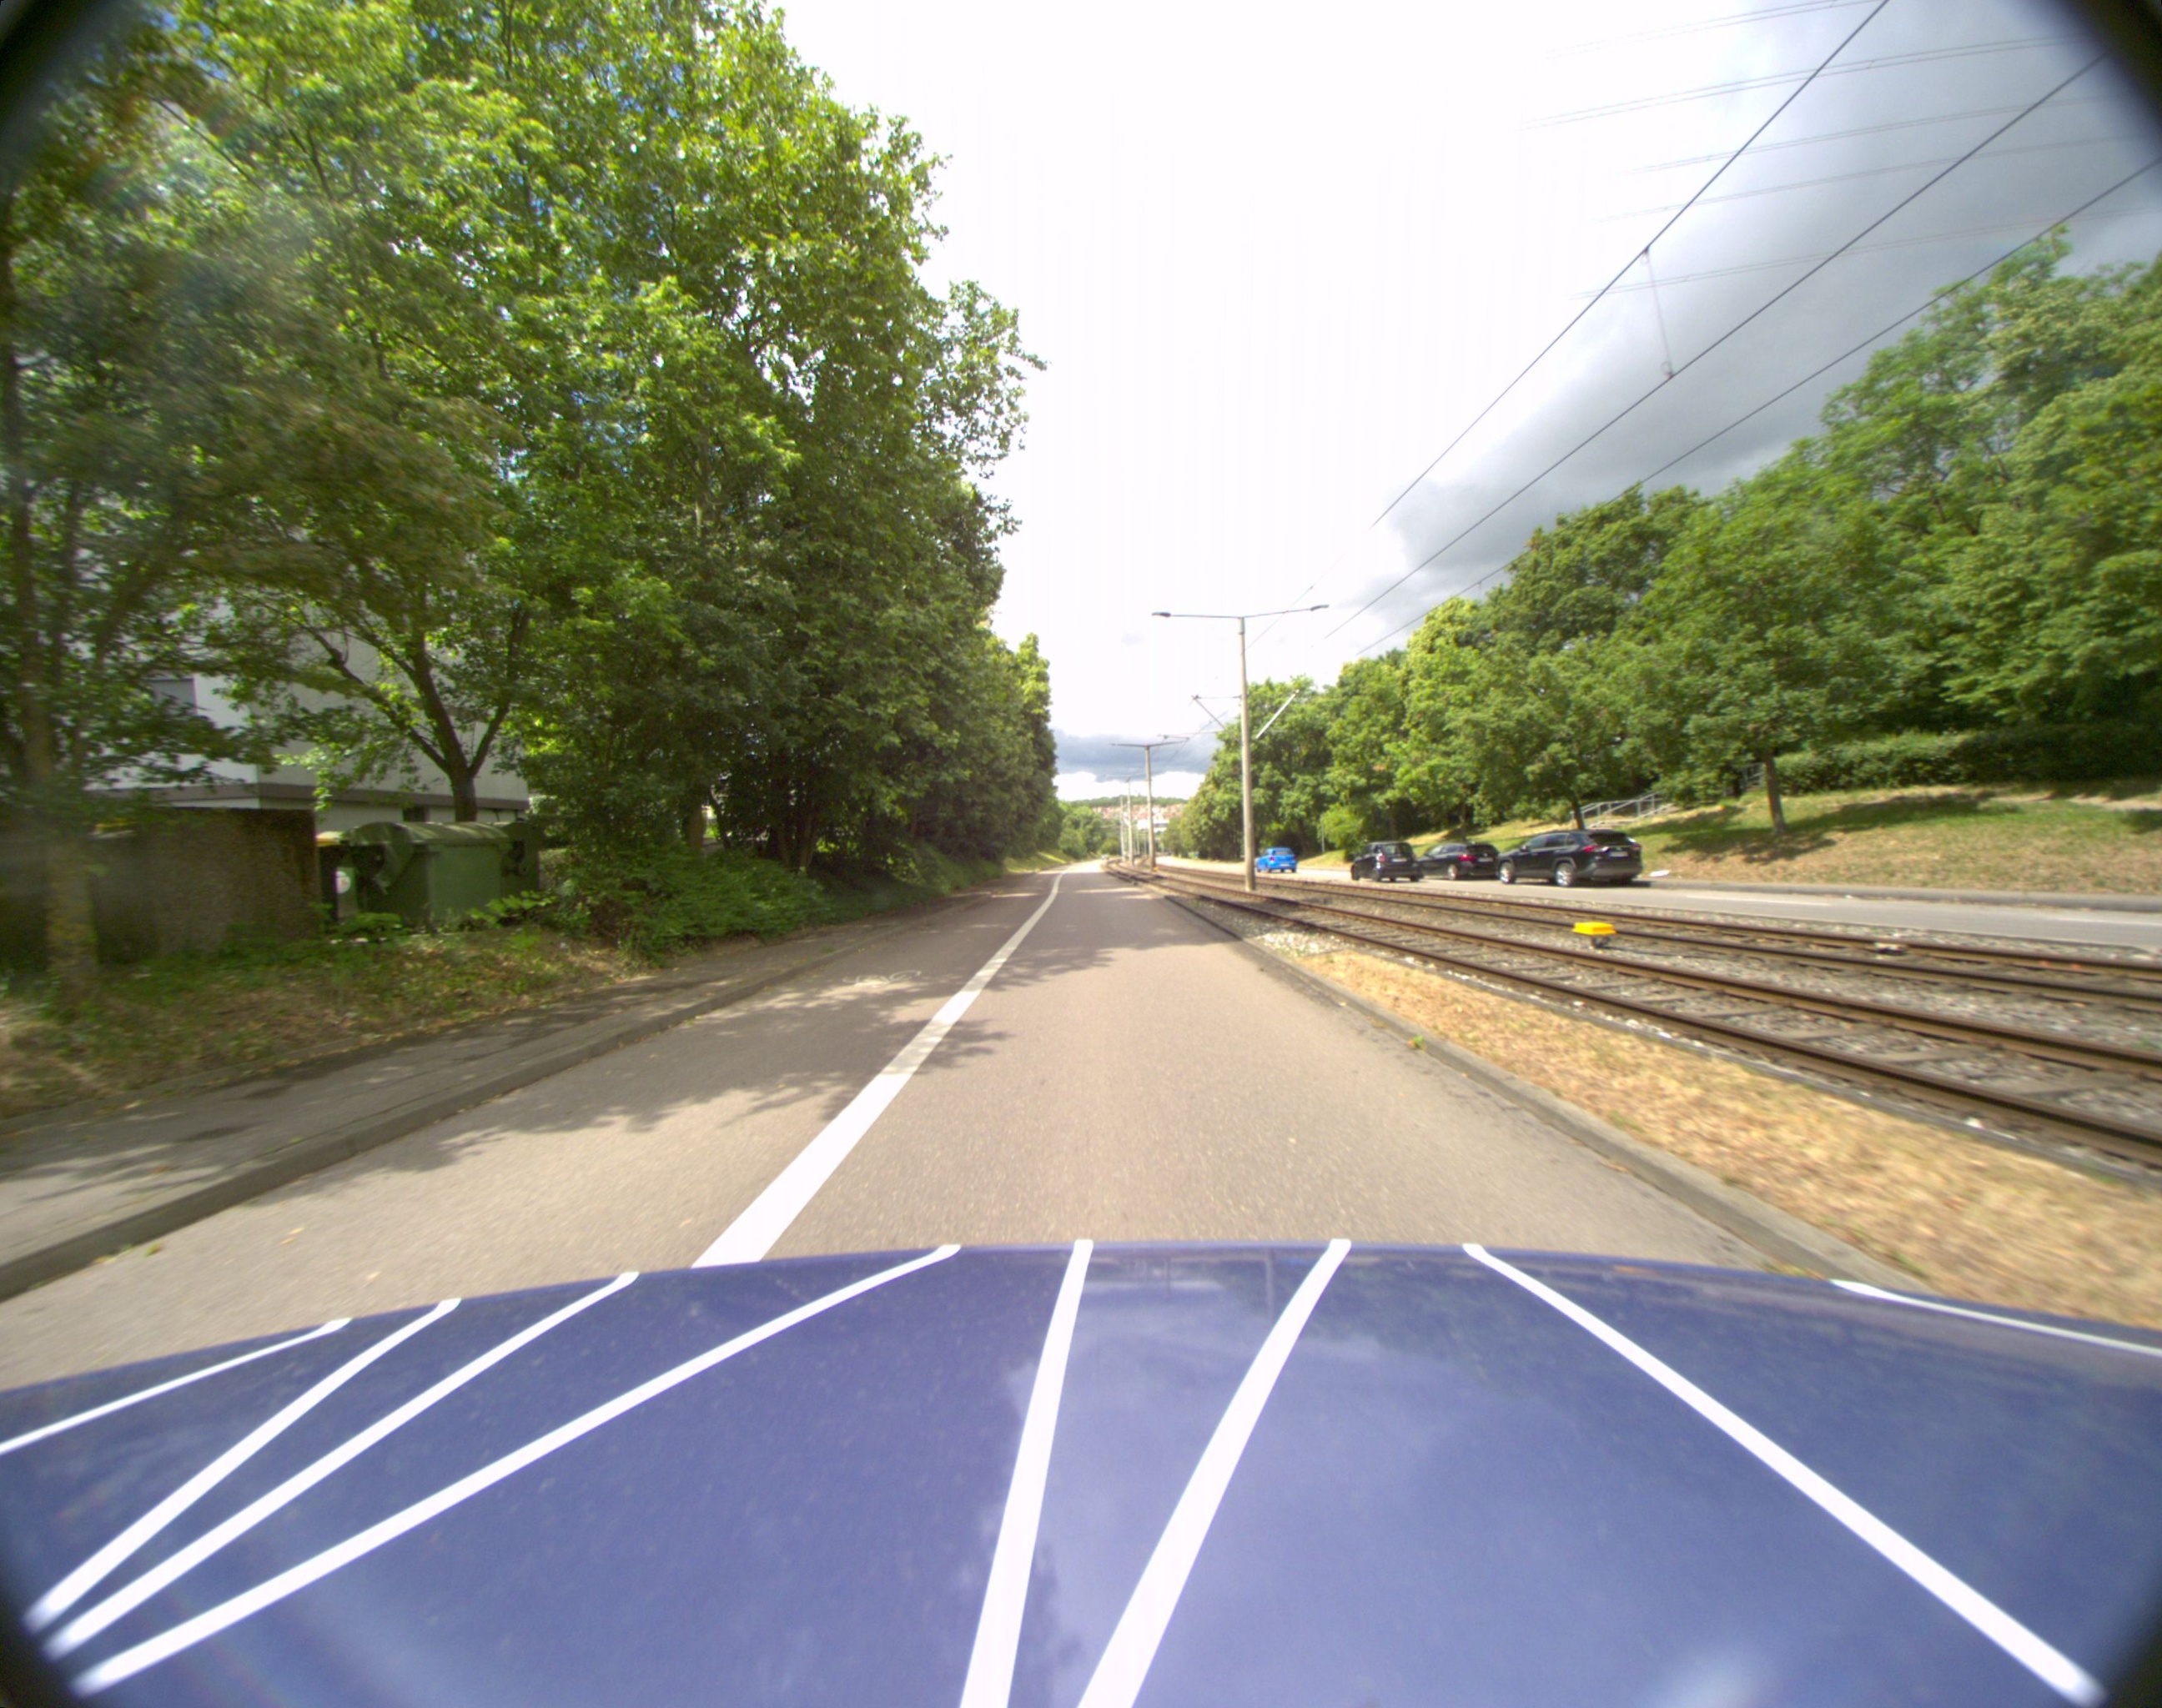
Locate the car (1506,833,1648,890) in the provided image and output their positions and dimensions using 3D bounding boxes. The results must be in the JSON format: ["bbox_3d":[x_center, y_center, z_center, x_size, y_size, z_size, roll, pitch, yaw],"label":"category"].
[{"bbox_3d":[14.534,0.202,22.535,1.659,1.503,3.736,-2,0,-2],"label":"car"}]

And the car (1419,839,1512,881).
[{"bbox_3d":[14.338,0.209,28.548,1.606,1.431,3.469,-2,0,-2],"label":"car"}]

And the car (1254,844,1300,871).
[{"bbox_3d":[11.525,0.199,44.899,1.636,1.446,3.736,-2,0,-2],"label":"car"}]

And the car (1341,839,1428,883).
[{"bbox_3d":[11.420,0.260,28.886,1.659,1.503,3.736,-2,0,-2],"label":"car"}]
